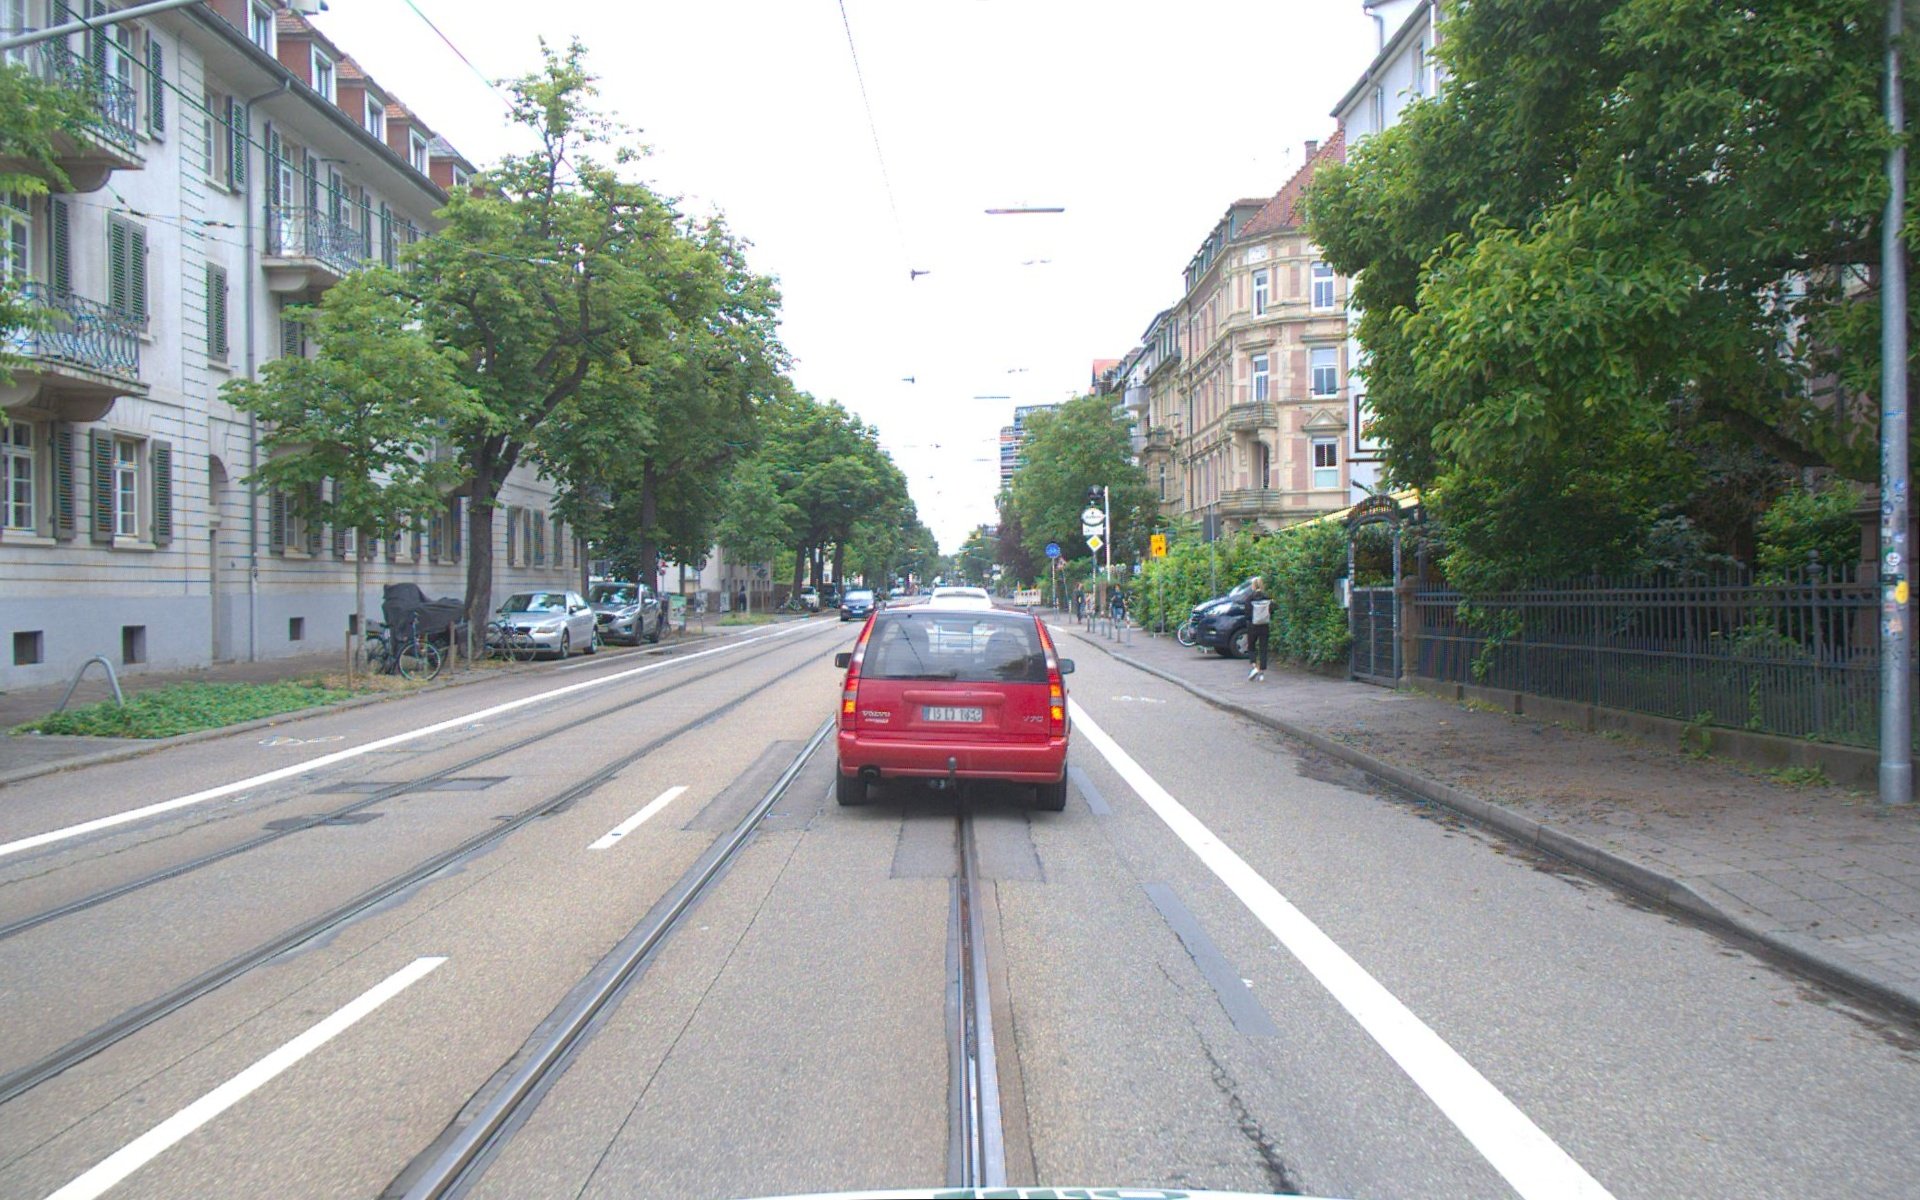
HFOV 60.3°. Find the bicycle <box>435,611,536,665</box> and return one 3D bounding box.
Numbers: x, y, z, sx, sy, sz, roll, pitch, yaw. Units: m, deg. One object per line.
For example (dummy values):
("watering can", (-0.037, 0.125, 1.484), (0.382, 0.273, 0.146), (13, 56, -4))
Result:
("bicycle", (-9.537, 0.761, 33.275), (1.857, 1.045, 0.563), (1, 0, -5))

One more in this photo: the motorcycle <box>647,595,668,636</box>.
("motorcycle", (-9.623, 0.475, 52.641), (0.529, 1.279, 2.139), (0, 0, -7))

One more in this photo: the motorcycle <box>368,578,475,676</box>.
("motorcycle", (-9.638, 0.455, 29.713), (0.815, 1.672, 2.482), (0, 0, 7))

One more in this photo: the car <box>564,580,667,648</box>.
("car", (-9.286, 0.345, 44.874), (1.800, 1.690, 4.294), (2, 1, 1))

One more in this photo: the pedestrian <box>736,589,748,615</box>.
("pedestrian", (-12.738, 0.117, 96.712), (0.553, 1.493, 0.722), (-1, 0, 0))

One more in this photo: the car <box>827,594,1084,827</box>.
("car", (0.038, 0.709, 12.607), (1.654, 1.466, 3.744), (1, 1, 2))

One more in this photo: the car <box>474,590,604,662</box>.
("car", (-9.266, 0.527, 36.758), (1.775, 1.491, 4.613), (0, 1, -1))

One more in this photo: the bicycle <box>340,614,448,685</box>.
("bicycle", (-9.412, 0.827, 27.517), (1.705, 1.148, 0.518), (-1, 0, 18))

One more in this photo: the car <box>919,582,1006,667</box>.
("car", (0.099, 0.466, 34.234), (1.683, 1.653, 3.942), (0, 0, 2))

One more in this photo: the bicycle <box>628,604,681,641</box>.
("bicycle", (-9.128, 0.676, 49.440), (1.347, 1.022, 0.930), (2, 0, 4))

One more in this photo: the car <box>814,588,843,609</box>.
("car", (-9.724, -0.117, 122.478), (1.741, 1.537, 4.238), (0, 0, 0))

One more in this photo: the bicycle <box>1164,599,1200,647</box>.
("bicycle", (5.653, 0.568, 42.201), (0.620, 1.147, 1.812), (-2, 1, -1))

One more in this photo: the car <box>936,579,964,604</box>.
("car", (-0.664, -0.572, 108.574), (1.706, 1.634, 3.998), (0, 0, -2))

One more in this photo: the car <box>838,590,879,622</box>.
("car", (-4.683, 0.251, 76.644), (1.694, 1.433, 3.655), (-1, 0, -1))

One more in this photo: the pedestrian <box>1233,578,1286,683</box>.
("pedestrian", (5.002, 0.497, 27.678), (0.611, 1.700, 0.959), (-3, 0, -1))

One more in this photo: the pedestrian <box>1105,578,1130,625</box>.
("pedestrian", (5.729, 0.054, 60.229), (0.777, 1.665, 0.836), (-2, 0, 0))

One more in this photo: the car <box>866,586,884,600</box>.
("car", (-9.742, -0.756, 189.491), (1.813, 1.590, 3.942), (0, 0, 0))

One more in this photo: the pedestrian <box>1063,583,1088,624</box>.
("pedestrian", (4.700, 0.137, 67.187), (0.854, 1.685, 0.909), (-1, 0, 12))

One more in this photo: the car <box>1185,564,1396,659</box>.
("car", (7.133, 0.233, 35.960), (4.192, 1.840, 1.824), (-2, 0, 1))

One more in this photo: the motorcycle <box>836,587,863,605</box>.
("motorcycle", (-9.603, -0.324, 144.034), (2.226, 1.538, 0.923), (0, -2, 35))

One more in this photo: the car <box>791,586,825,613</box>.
("car", (-9.482, -0.040, 103.353), (1.859, 1.684, 4.224), (0, 0, -1))

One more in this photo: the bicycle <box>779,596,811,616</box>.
("bicycle", (-9.922, 0.365, 99.595), (1.883, 1.140, 0.624), (1, 0, -1))
